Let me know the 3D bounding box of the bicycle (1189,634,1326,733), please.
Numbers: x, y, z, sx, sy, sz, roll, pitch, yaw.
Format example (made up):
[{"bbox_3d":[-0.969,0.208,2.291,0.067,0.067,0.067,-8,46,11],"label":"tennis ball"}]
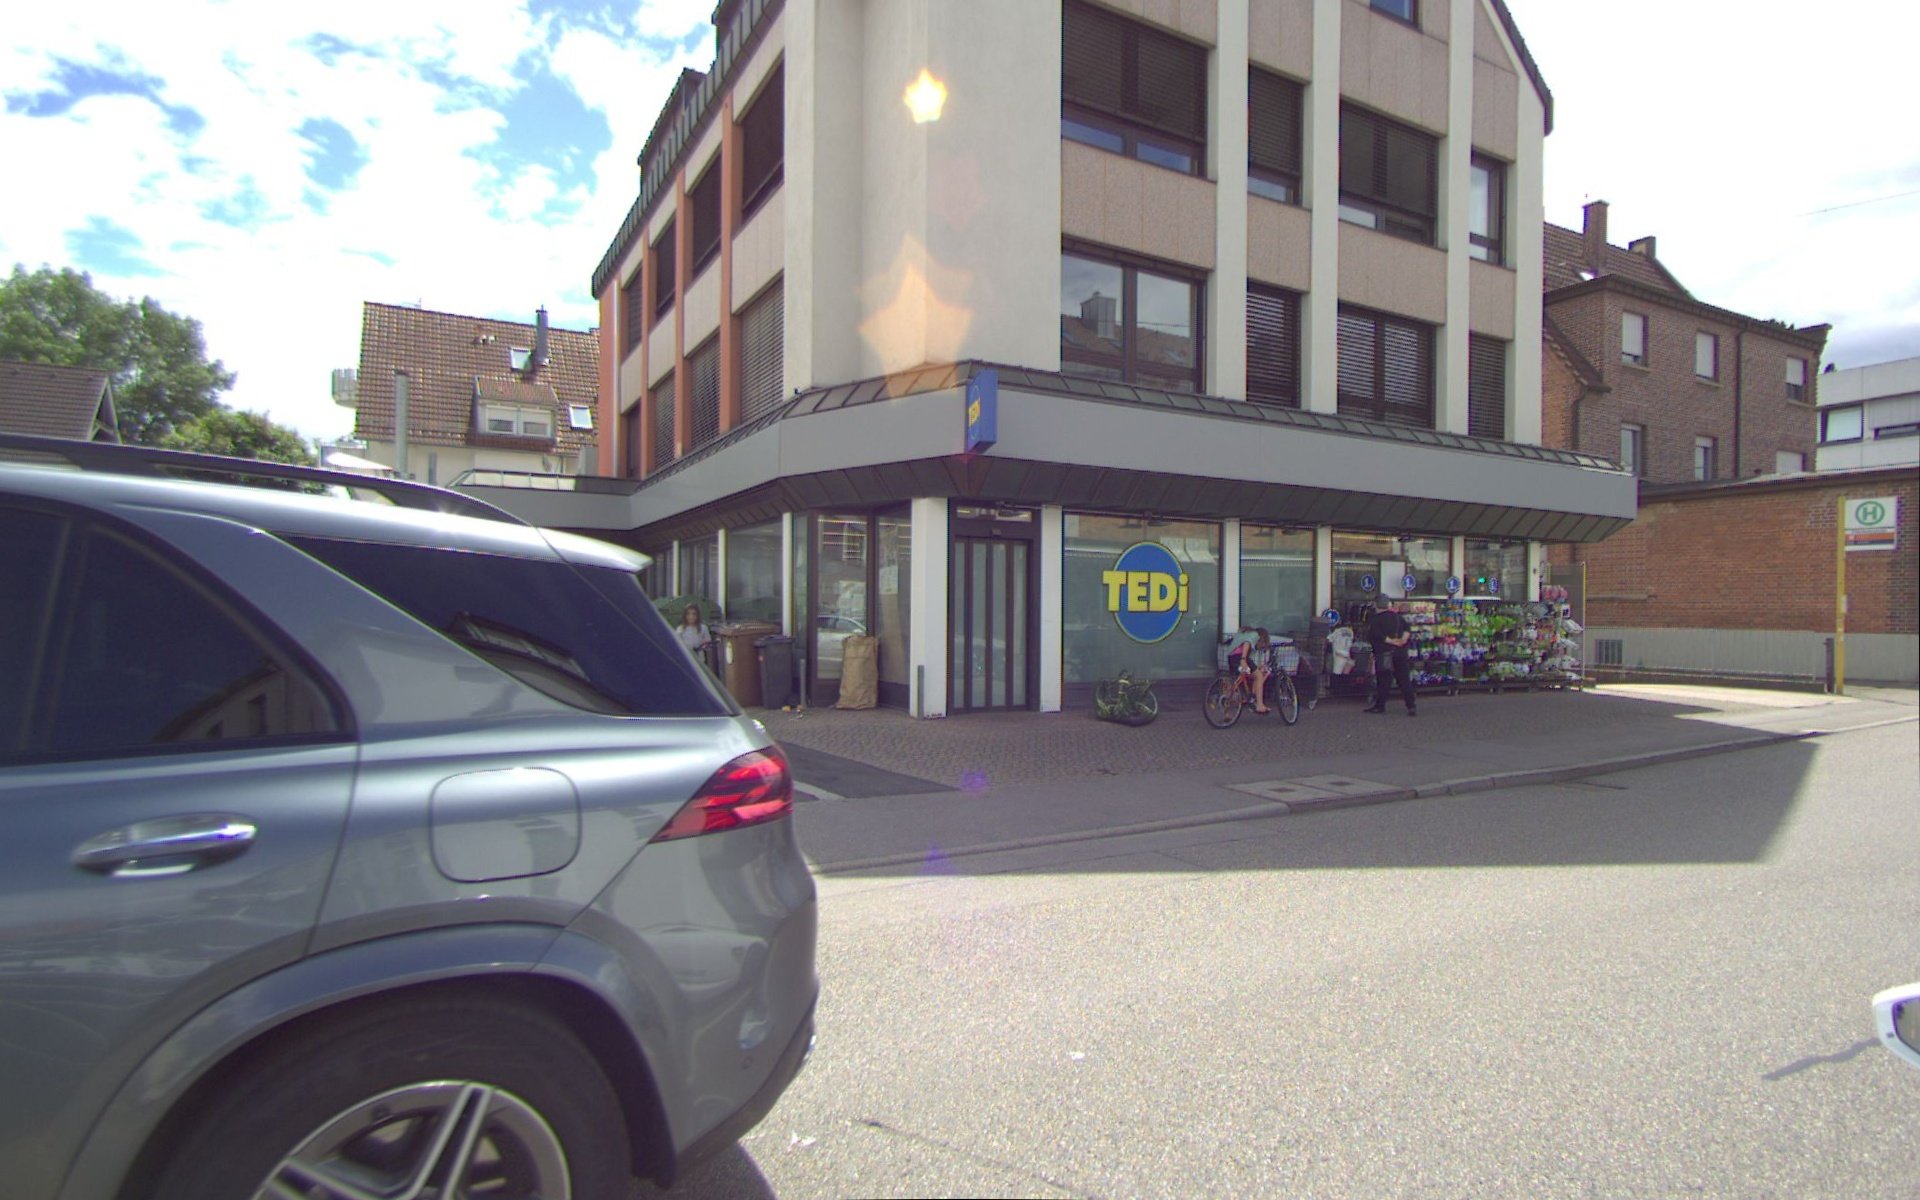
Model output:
[{"bbox_3d":[3.574,0.975,12.034,1.714,1.064,0.441,1,6,-31],"label":"bicycle"}]

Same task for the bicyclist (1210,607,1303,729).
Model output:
[{"bbox_3d":[3.540,0.792,12.018,0.753,1.355,0.664,0,4,-30],"label":"bicyclist"}]

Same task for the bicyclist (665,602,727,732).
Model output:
[{"bbox_3d":[-2.932,0.725,11.141,0.581,1.384,0.422,-2,1,-25],"label":"bicyclist"}]

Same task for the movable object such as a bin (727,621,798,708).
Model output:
[{"bbox_3d":[-2.642,0.846,13.421,0.729,1.080,0.680,-2,2,-30],"label":"movable object such as a bin"}]

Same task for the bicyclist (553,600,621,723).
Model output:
[{"bbox_3d":[-3.963,0.635,10.706,0.418,1.258,0.642,2,0,3],"label":"bicyclist"}]

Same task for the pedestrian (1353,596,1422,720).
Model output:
[{"bbox_3d":[5.713,0.755,13.455,0.757,1.579,0.574,2,0,20],"label":"pedestrian"}]

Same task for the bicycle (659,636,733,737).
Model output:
[{"bbox_3d":[-2.983,0.924,11.269,0.547,0.967,1.681,0,0,-24],"label":"bicycle"}]

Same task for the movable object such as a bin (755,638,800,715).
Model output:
[{"bbox_3d":[-2.336,0.964,12.830,0.438,0.923,0.405,-2,2,-30],"label":"movable object such as a bin"}]

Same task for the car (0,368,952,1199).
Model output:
[{"bbox_3d":[-2.423,0.553,1.828,4.550,1.742,1.929,1,-1,-34],"label":"car"}]
